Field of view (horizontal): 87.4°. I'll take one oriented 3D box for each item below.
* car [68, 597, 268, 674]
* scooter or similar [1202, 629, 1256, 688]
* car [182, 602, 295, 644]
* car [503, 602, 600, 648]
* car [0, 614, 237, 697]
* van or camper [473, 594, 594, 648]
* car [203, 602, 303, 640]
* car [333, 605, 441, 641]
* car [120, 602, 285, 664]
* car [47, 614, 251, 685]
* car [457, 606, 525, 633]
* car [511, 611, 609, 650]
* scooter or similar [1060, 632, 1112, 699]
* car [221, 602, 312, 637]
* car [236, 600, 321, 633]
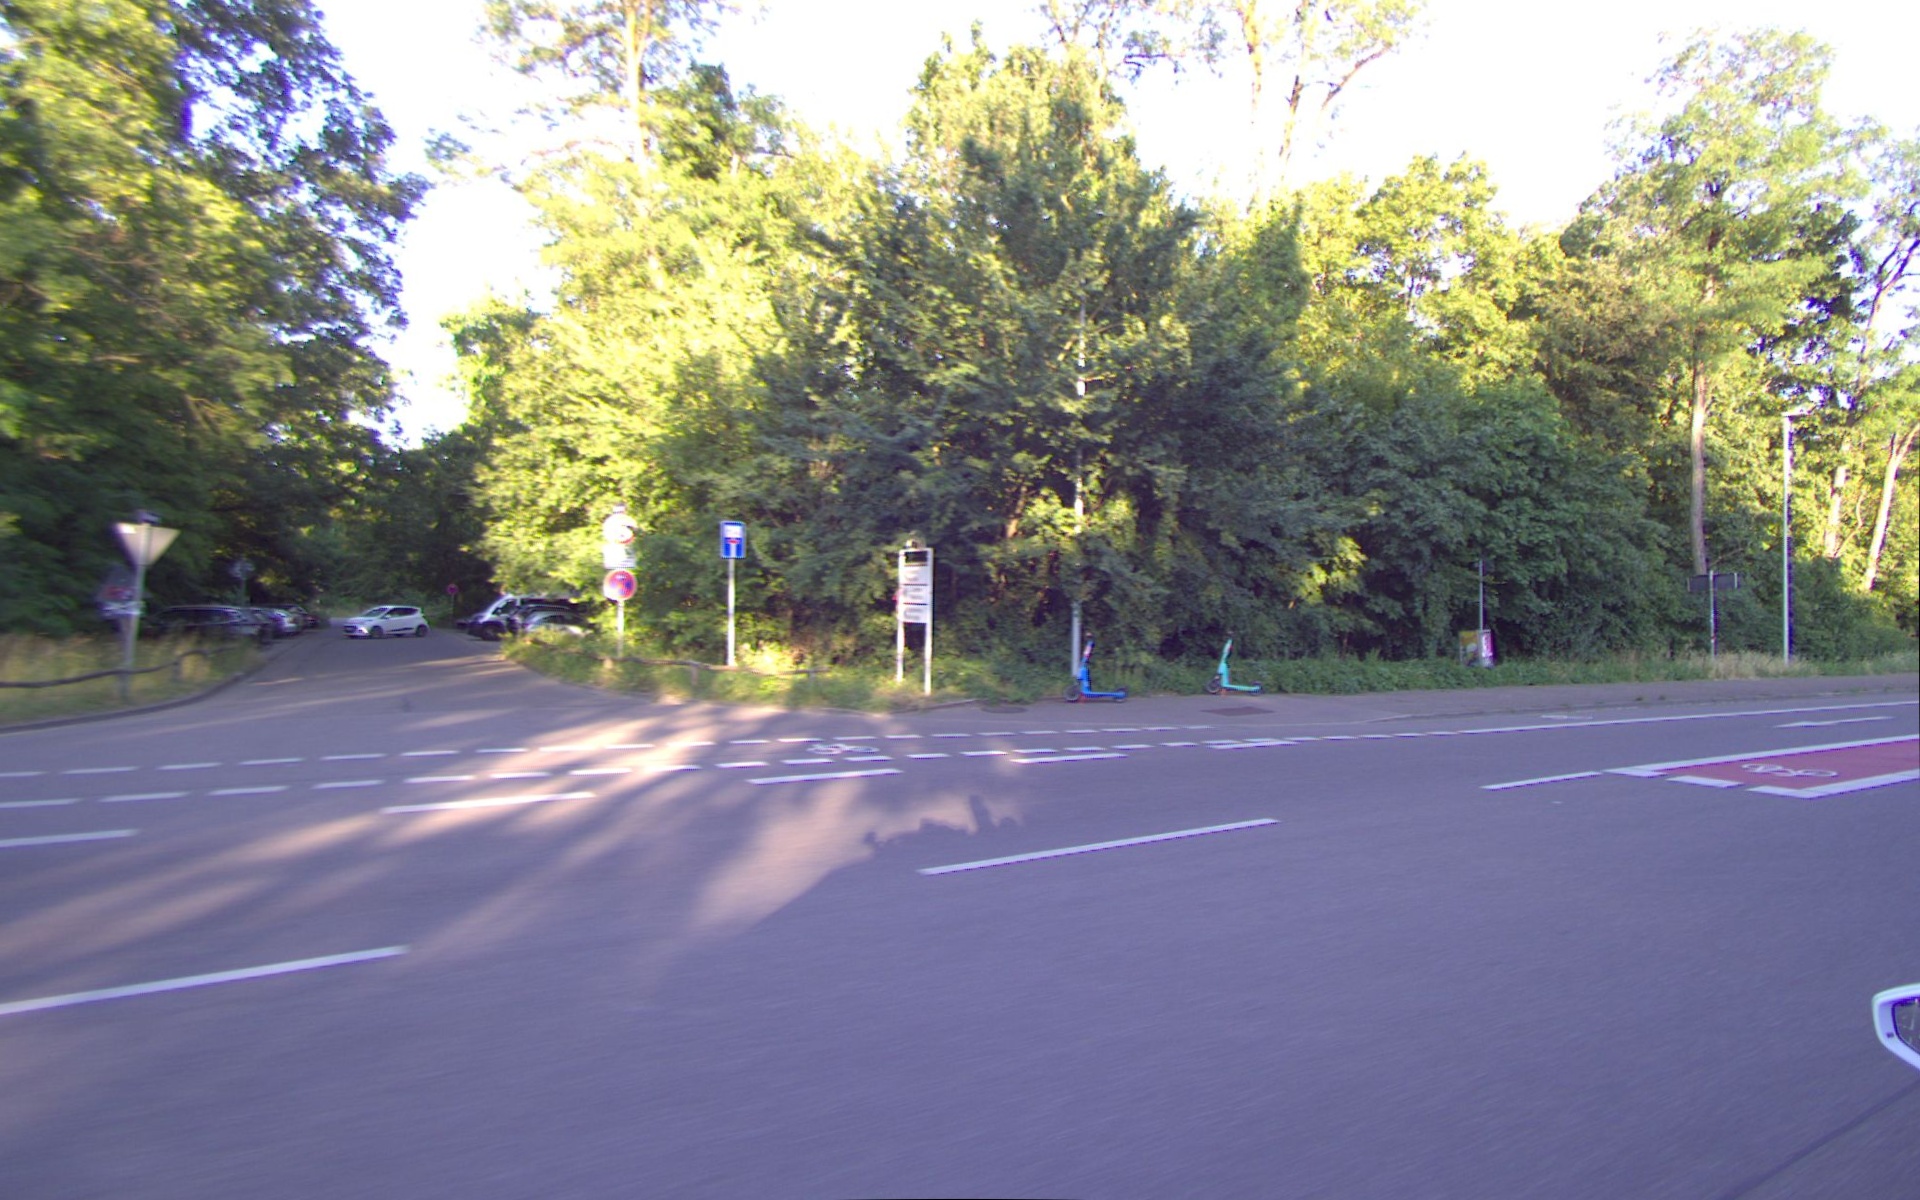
[{"bbox_3d":[-19.641,0.867,25.112,3.627,1.807,1.737,1,-1,-29],"label":"car"},{"bbox_3d":[5.183,1.120,19.357,0.885,1.083,0.494,1,0,35],"label":"scooter or similar"},{"bbox_3d":[-30.078,0.960,42.011,3.629,1.708,1.736,1,-1,-30],"label":"car"},{"bbox_3d":[-17.529,1.055,43.096,3.629,1.885,1.900,1,-1,-30],"label":"car"},{"bbox_3d":[-16.191,1.038,19.466,3.302,1.471,1.737,1,-1,-29],"label":"car"},{"bbox_3d":[-20.209,0.966,47.619,5.037,2.408,1.982,1,1,-32],"label":"van or camper"},{"bbox_3d":[-32.887,0.987,46.853,3.629,1.708,1.736,1,-1,-30],"label":"car"},{"bbox_3d":[-26.972,1.078,47.402,1.770,1.608,4.125,1,-1,26],"label":"car"},{"bbox_3d":[-22.061,0.948,29.435,3.629,1.708,1.736,1,-1,-30],"label":"car"},{"bbox_3d":[-18.215,1.094,22.765,3.302,1.471,1.737,1,-1,-29],"label":"car"},{"bbox_3d":[-27.919,1.171,59.851,3.622,1.527,1.596,1,-1,-25],"label":"car"},{"bbox_3d":[-16.243,1.250,40.827,3.620,1.527,1.597,1,-1,-23],"label":"car"},{"bbox_3d":[2.190,1.135,17.432,0.862,1.124,0.362,1,0,12],"label":"scooter or similar"},{"bbox_3d":[-35.153,0.974,51.032,3.629,1.708,1.736,1,-1,-30],"label":"car"},{"bbox_3d":[-36.929,0.890,54.549,3.629,1.708,1.736,1,-1,-30],"label":"car"}]
